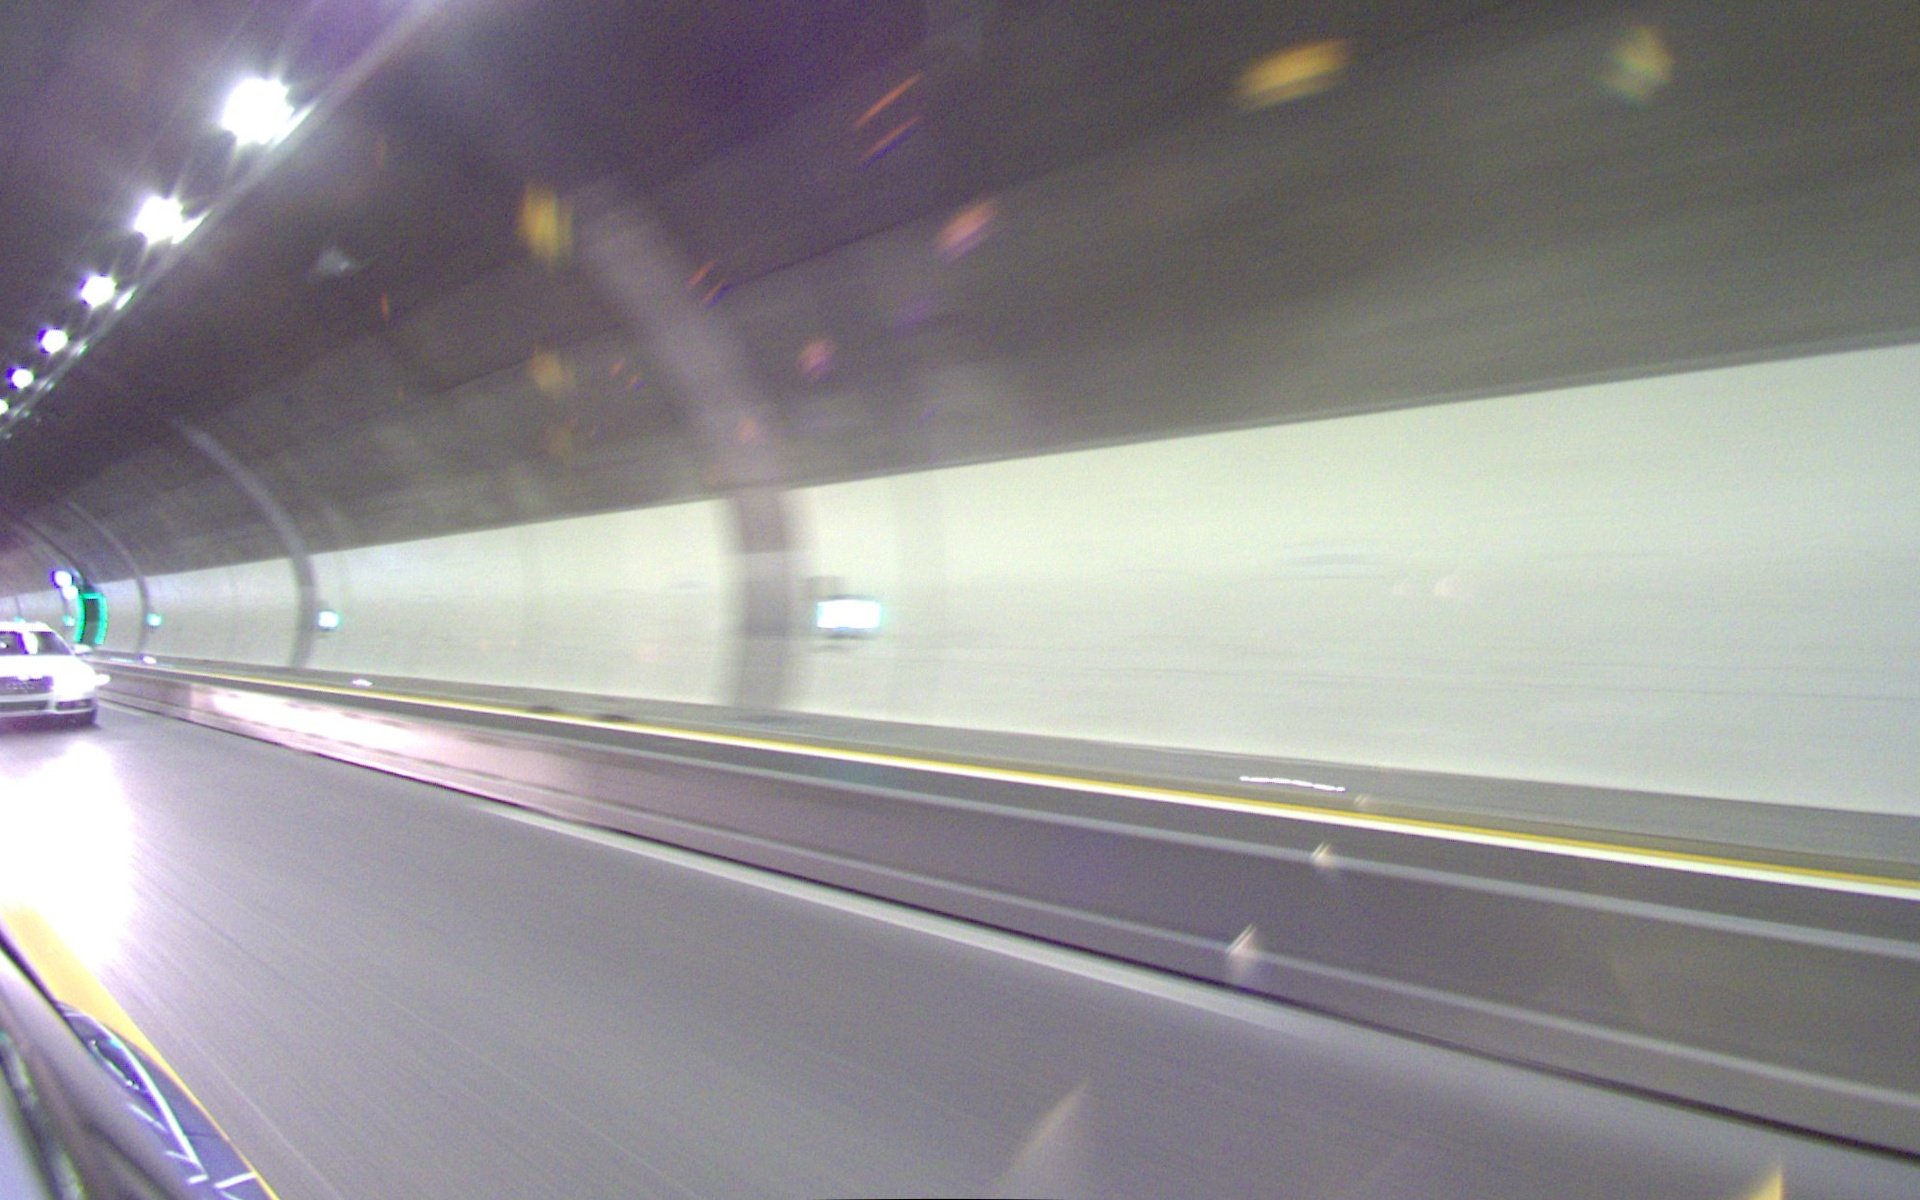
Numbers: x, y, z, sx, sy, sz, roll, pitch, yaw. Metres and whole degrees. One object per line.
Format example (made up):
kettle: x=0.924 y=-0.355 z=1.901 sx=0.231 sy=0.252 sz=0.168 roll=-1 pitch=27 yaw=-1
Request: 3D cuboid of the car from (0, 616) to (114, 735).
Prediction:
car: x=-13.902 y=1.022 z=14.538 sx=4.939 sy=1.496 sz=1.884 roll=-2 pitch=-2 yaw=40
